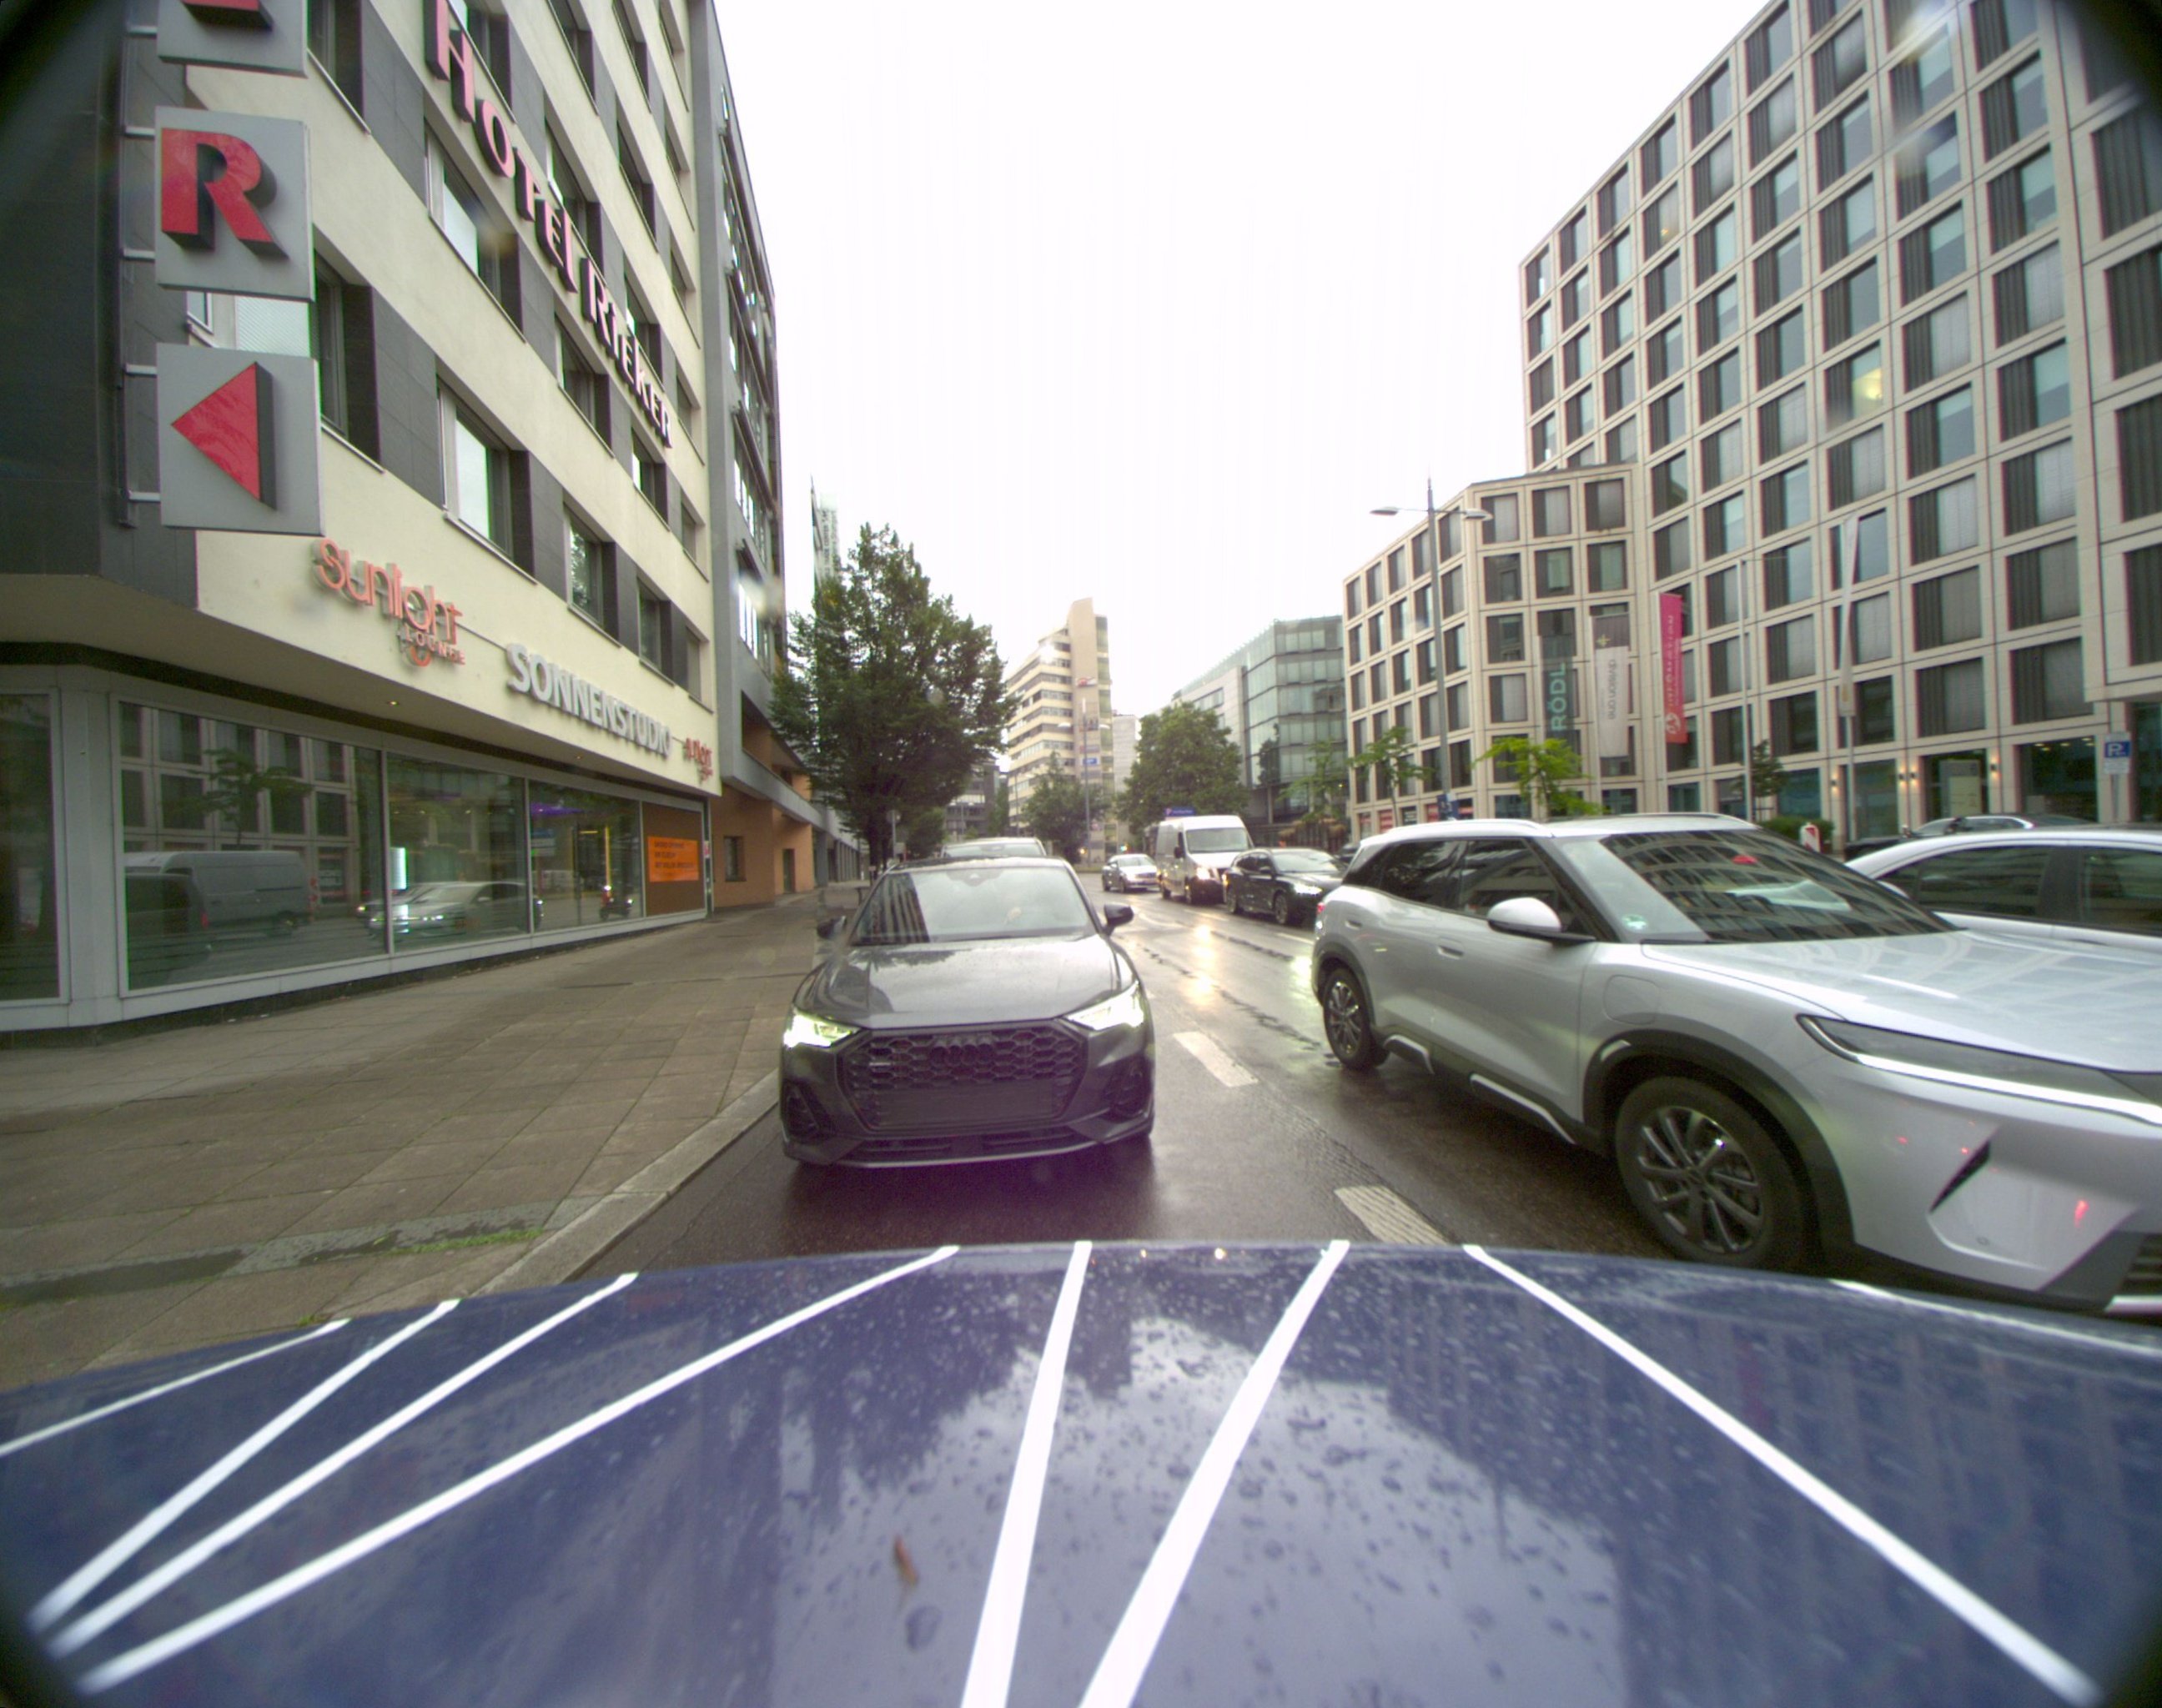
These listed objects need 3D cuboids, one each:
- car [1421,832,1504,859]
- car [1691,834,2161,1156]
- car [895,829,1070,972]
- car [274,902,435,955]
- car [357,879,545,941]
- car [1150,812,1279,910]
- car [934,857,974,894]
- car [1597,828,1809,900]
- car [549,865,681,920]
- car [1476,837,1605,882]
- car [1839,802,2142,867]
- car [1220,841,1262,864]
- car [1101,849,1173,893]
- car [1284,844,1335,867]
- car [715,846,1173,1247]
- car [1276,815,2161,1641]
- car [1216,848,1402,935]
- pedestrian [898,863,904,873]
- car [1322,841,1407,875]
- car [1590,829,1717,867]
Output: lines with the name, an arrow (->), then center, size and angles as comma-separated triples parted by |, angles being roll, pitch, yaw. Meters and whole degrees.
car -> 20.875, -0.440, 41.753 | 1.703, 1.415, 4.369 | -1, 0, -12
car -> 5.771, 0.638, 3.706 | 1.738, 1.396, 4.380 | -4, 1, -6
car -> -1.404, 0.598, 13.091 | 2.059, 1.881, 5.049 | -3, 1, 2
car -> -23.766, 2.412, 24.989 | 3.391, 1.322, 1.564 | -4, 1, -15
car -> -16.219, 1.381, 19.870 | 1.721, 1.187, 3.998 | -3, 1, -4
car -> 3.681, 0.139, 22.276 | 2.260, 2.371, 5.716 | -3, 1, -4
car -> -5.759, 0.931, 34.782 | 1.600, 1.460, 3.445 | -4, 1, -8
car -> 15.904, 0.218, 19.717 | 1.704, 1.565, 3.995 | -4, 1, -14
car -> -16.924, 1.329, 27.967 | 1.999, 1.600, 4.924 | -3, 1, -4
car -> 17.093, 0.196, 28.522 | 1.703, 1.510, 4.187 | -1, 0, -12
car -> 24.622, -0.479, 20.960 | 1.703, 1.560, 5.178 | -1, 0, -12
car -> 15.324, -0.131, 73.148 | 2.000, 2.002, 4.910 | -4, 1, -13
car -> 2.089, 0.596, 29.302 | 1.786, 1.499, 3.996 | -4, 1, -10
car -> 16.029, 0.105, 53.403 | 1.704, 1.510, 3.683 | -1, 0, -15
car -> -0.700, 0.770, 5.369 | 1.802, 1.543, 4.385 | -3, 1, -4
car -> 2.690, 0.734, 3.745 | 1.814, 1.651, 4.167 | -4, 1, -8
car -> 4.384, 0.642, 15.409 | 1.906, 1.393, 4.237 | -4, 1, -9
pedestrian -> -29.253, 2.283, 123.439 | 0.654, 1.589, 1.057 | -4, 2, -18
car -> 12.927, 0.170, 34.925 | 1.703, 1.415, 4.135 | -1, 0, -12
car -> 23.086, -0.243, 30.839 | 1.703, 1.415, 3.951 | -1, 0, -12
